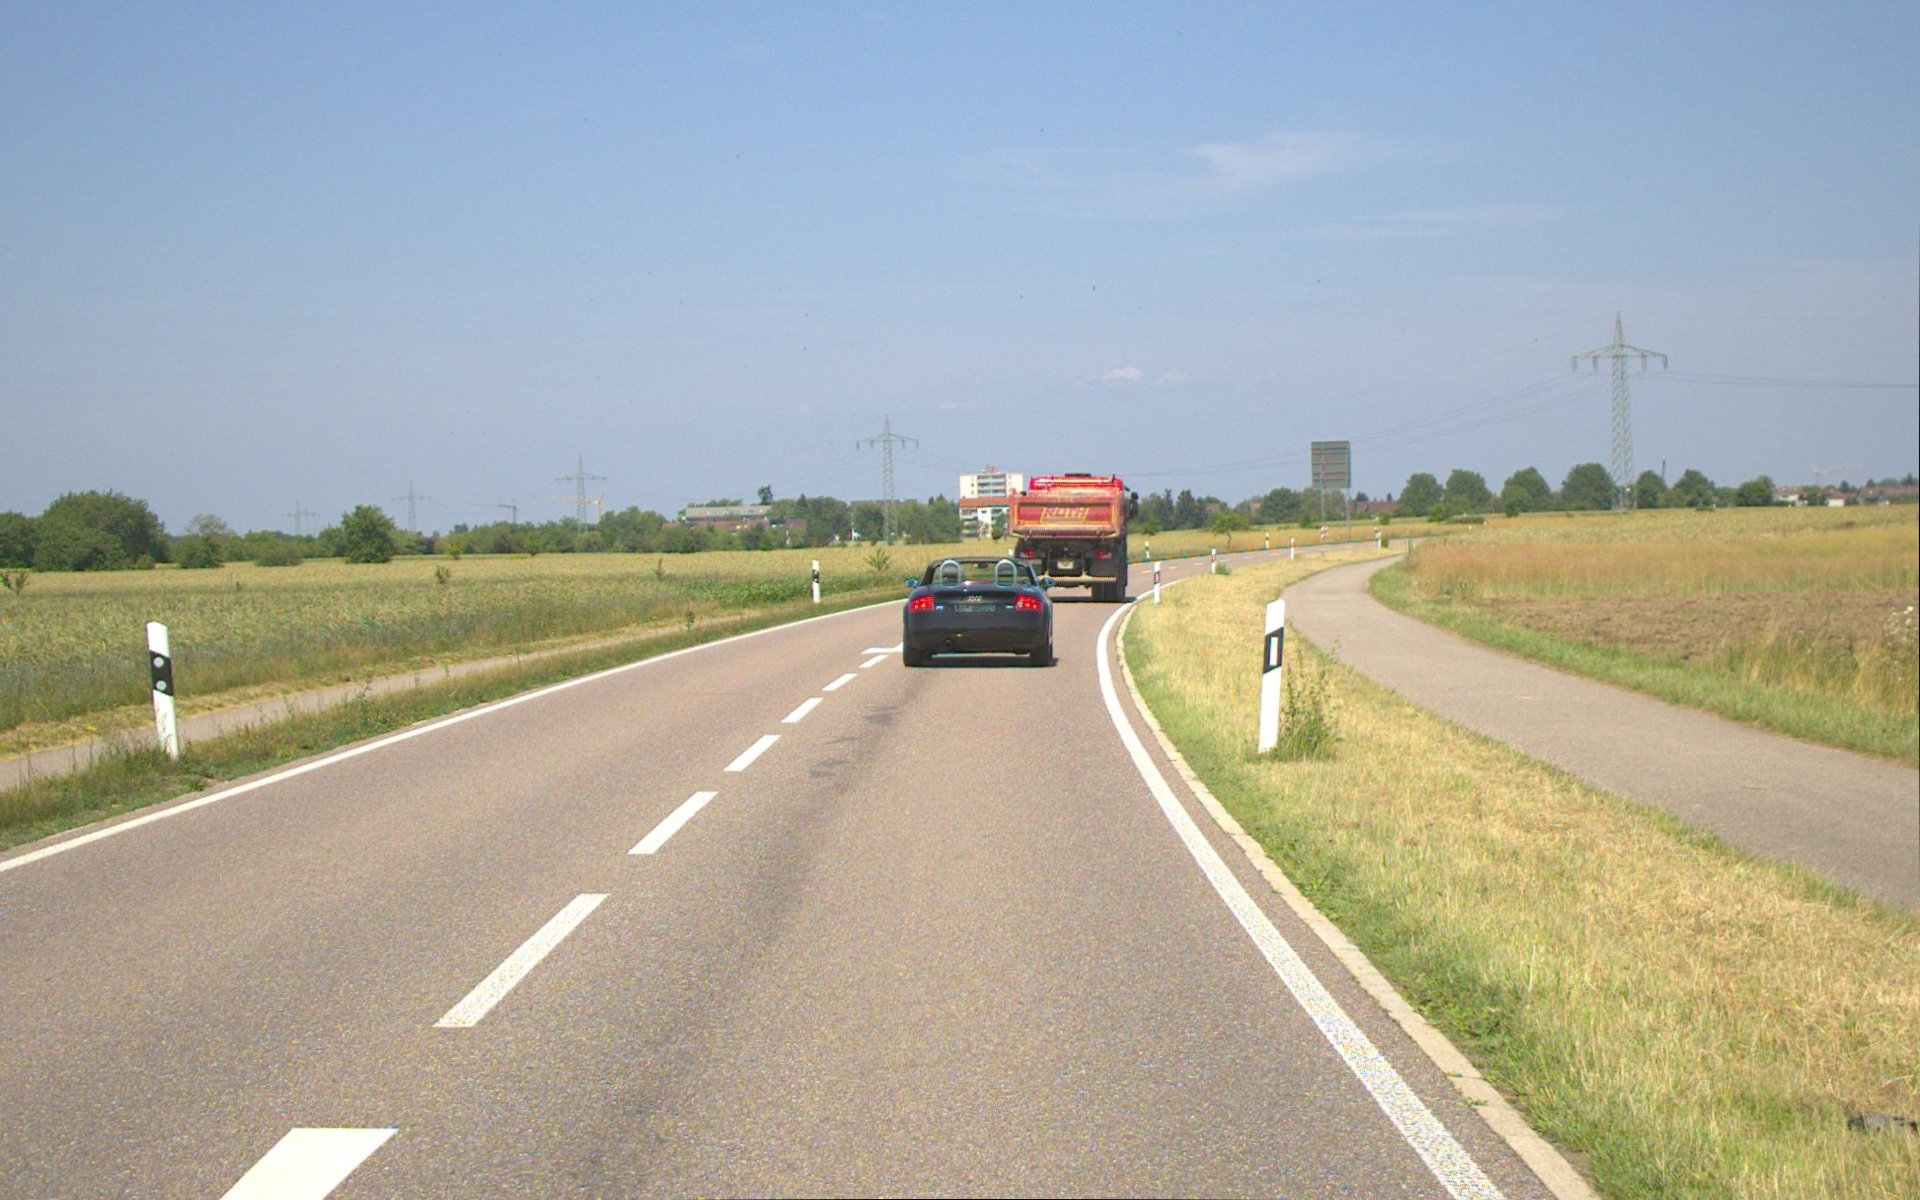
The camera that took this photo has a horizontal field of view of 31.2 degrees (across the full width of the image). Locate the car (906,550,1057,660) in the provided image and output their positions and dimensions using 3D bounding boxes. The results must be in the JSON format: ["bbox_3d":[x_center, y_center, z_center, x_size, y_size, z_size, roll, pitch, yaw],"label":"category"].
[{"bbox_3d":[0.285,0.031,41.679,1.744,1.275,4.000,0,1,1],"label":"car"}]

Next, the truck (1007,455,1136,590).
[{"bbox_3d":[2.704,-1.812,82.482,2.938,3.078,7.196,0,1,2],"label":"truck"}]
